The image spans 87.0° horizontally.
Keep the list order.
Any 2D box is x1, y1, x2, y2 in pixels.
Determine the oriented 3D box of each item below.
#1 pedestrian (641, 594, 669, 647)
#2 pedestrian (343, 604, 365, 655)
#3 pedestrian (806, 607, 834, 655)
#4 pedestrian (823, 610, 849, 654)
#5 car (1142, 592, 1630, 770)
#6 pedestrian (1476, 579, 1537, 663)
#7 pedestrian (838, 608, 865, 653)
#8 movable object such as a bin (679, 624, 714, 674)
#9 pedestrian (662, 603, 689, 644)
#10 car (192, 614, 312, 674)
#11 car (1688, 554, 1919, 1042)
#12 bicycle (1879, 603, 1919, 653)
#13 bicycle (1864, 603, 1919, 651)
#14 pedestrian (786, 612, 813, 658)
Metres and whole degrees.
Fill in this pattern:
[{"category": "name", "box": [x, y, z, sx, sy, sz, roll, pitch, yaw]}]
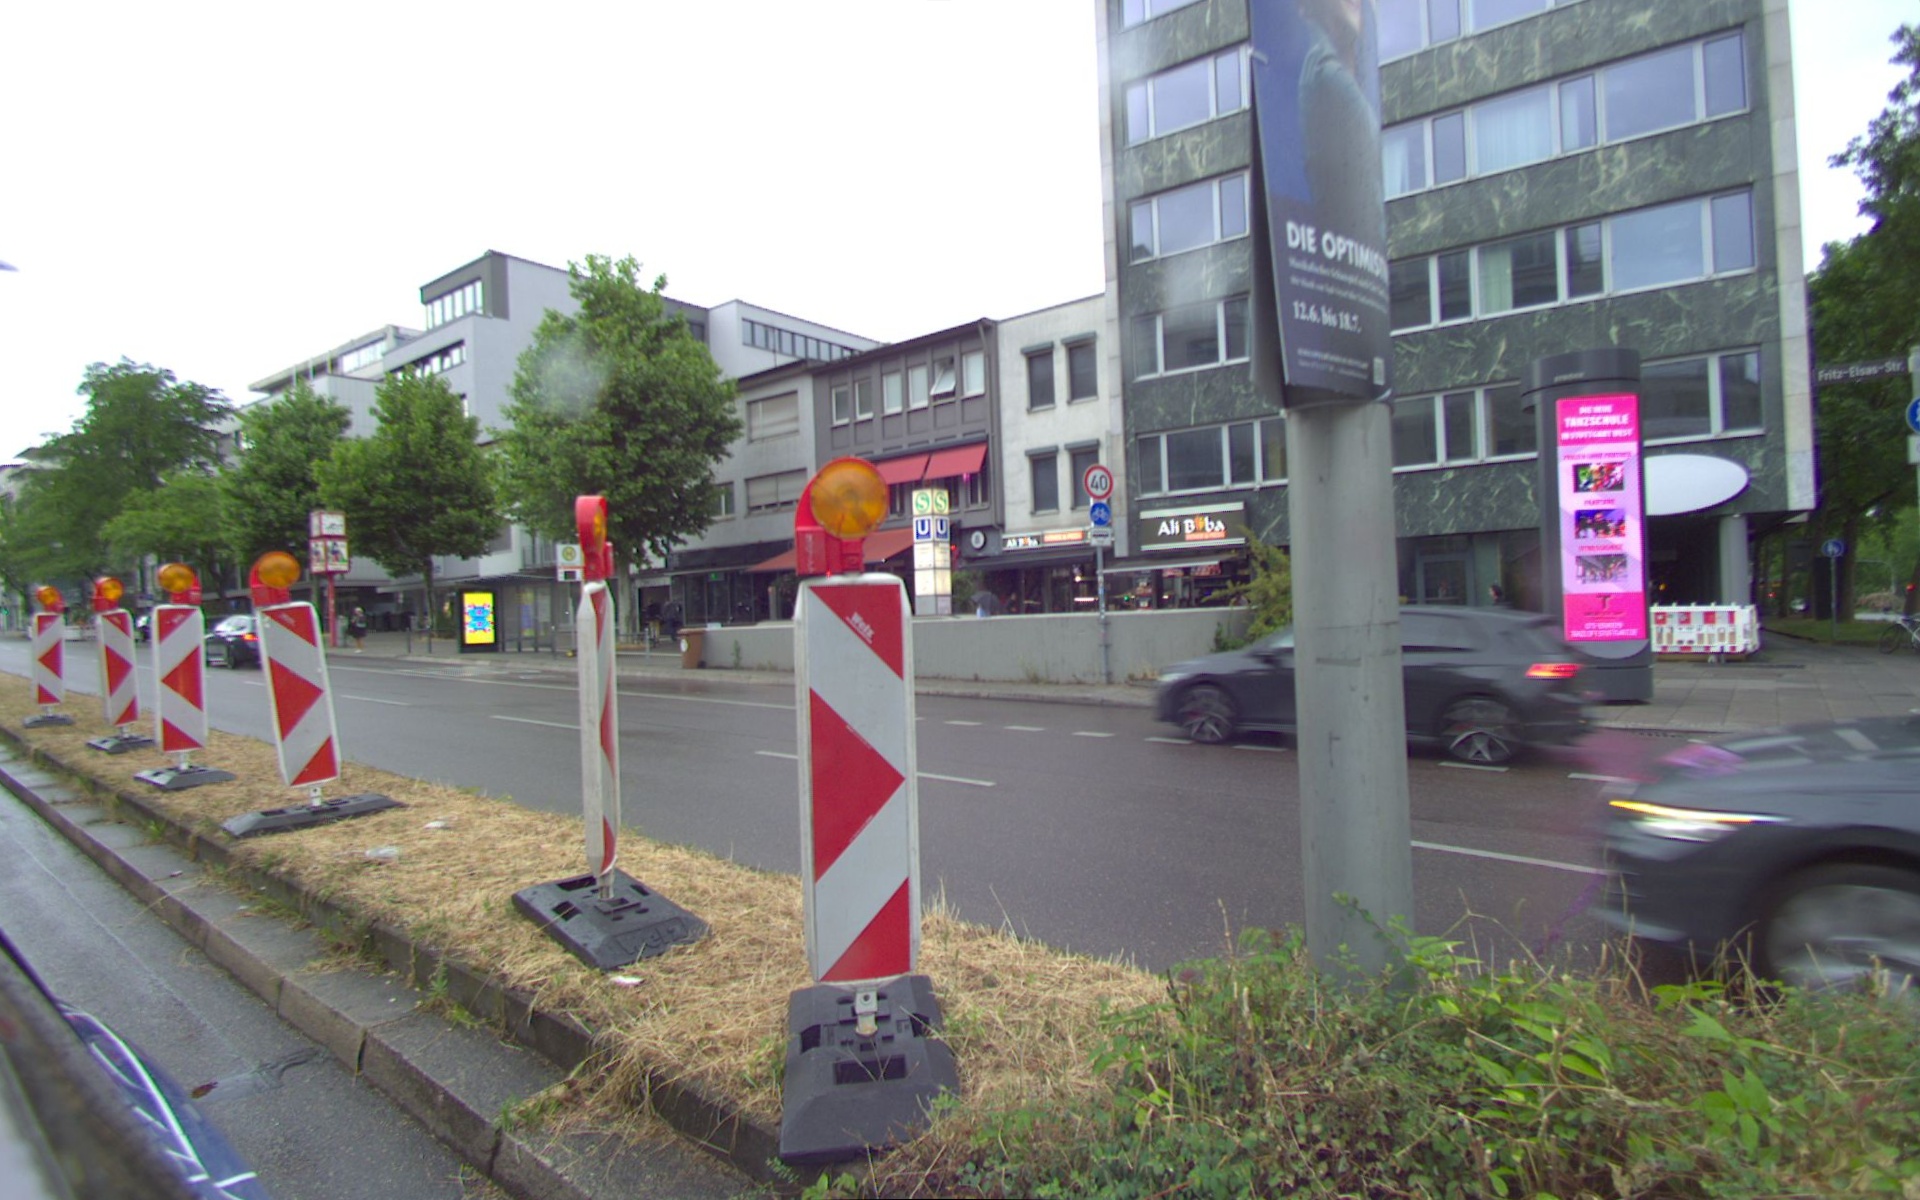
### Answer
[{"category": "pedestrian", "box": [-11.821, 0.779, 39.170, 0.764, 2.029, 0.768, -1, 0, -41]}, {"category": "pedestrian", "box": [-22.220, 1.071, 37.097, 0.567, 1.839, 0.581, -1, 0, -43]}, {"category": "pedestrian", "box": [-4.639, 1.022, 33.463, 0.611, 1.540, 0.660, -2, -1, 44]}, {"category": "pedestrian", "box": [-4.346, 1.116, 35.402, 0.611, 1.540, 0.660, -2, -1, 44]}, {"category": "car", "box": [4.142, 0.762, 10.241, 4.209, 1.442, 1.670, -4, -2, 40]}, {"category": "pedestrian", "box": [11.740, 0.430, 21.740, 1.029, 1.747, 1.194, -1, 0, 34]}, {"category": "pedestrian", "box": [-3.762, 1.038, 35.018, 0.611, 1.540, 0.660, -2, -1, 44]}, {"category": "movable object such as a bin", "box": [-6.109, 1.126, 23.452, 0.660, 1.109, 0.501, -1, 0, 39]}, {"category": "pedestrian", "box": [-11.193, 0.917, 39.793, 0.764, 1.577, 0.768, -1, 0, -41]}, {"category": "car", "box": [-20.390, 1.196, 29.076, 4.415, 1.566, 1.671, -1, 0, 39]}, {"category": "car", "box": [4.707, 0.587, 2.758, 4.289, 1.521, 1.670, -1, 0, 41]}, {"category": "bicycle", "box": [20.760, 0.595, 21.482, 1.780, 1.060, 0.579, -1, -1, 37]}, {"category": "bicycle", "box": [21.255, 0.589, 22.390, 1.780, 1.060, 0.579, -1, -1, 37]}, {"category": "pedestrian", "box": [-5.446, 1.184, 34.310, 0.611, 1.540, 0.660, -2, -1, 44]}]
